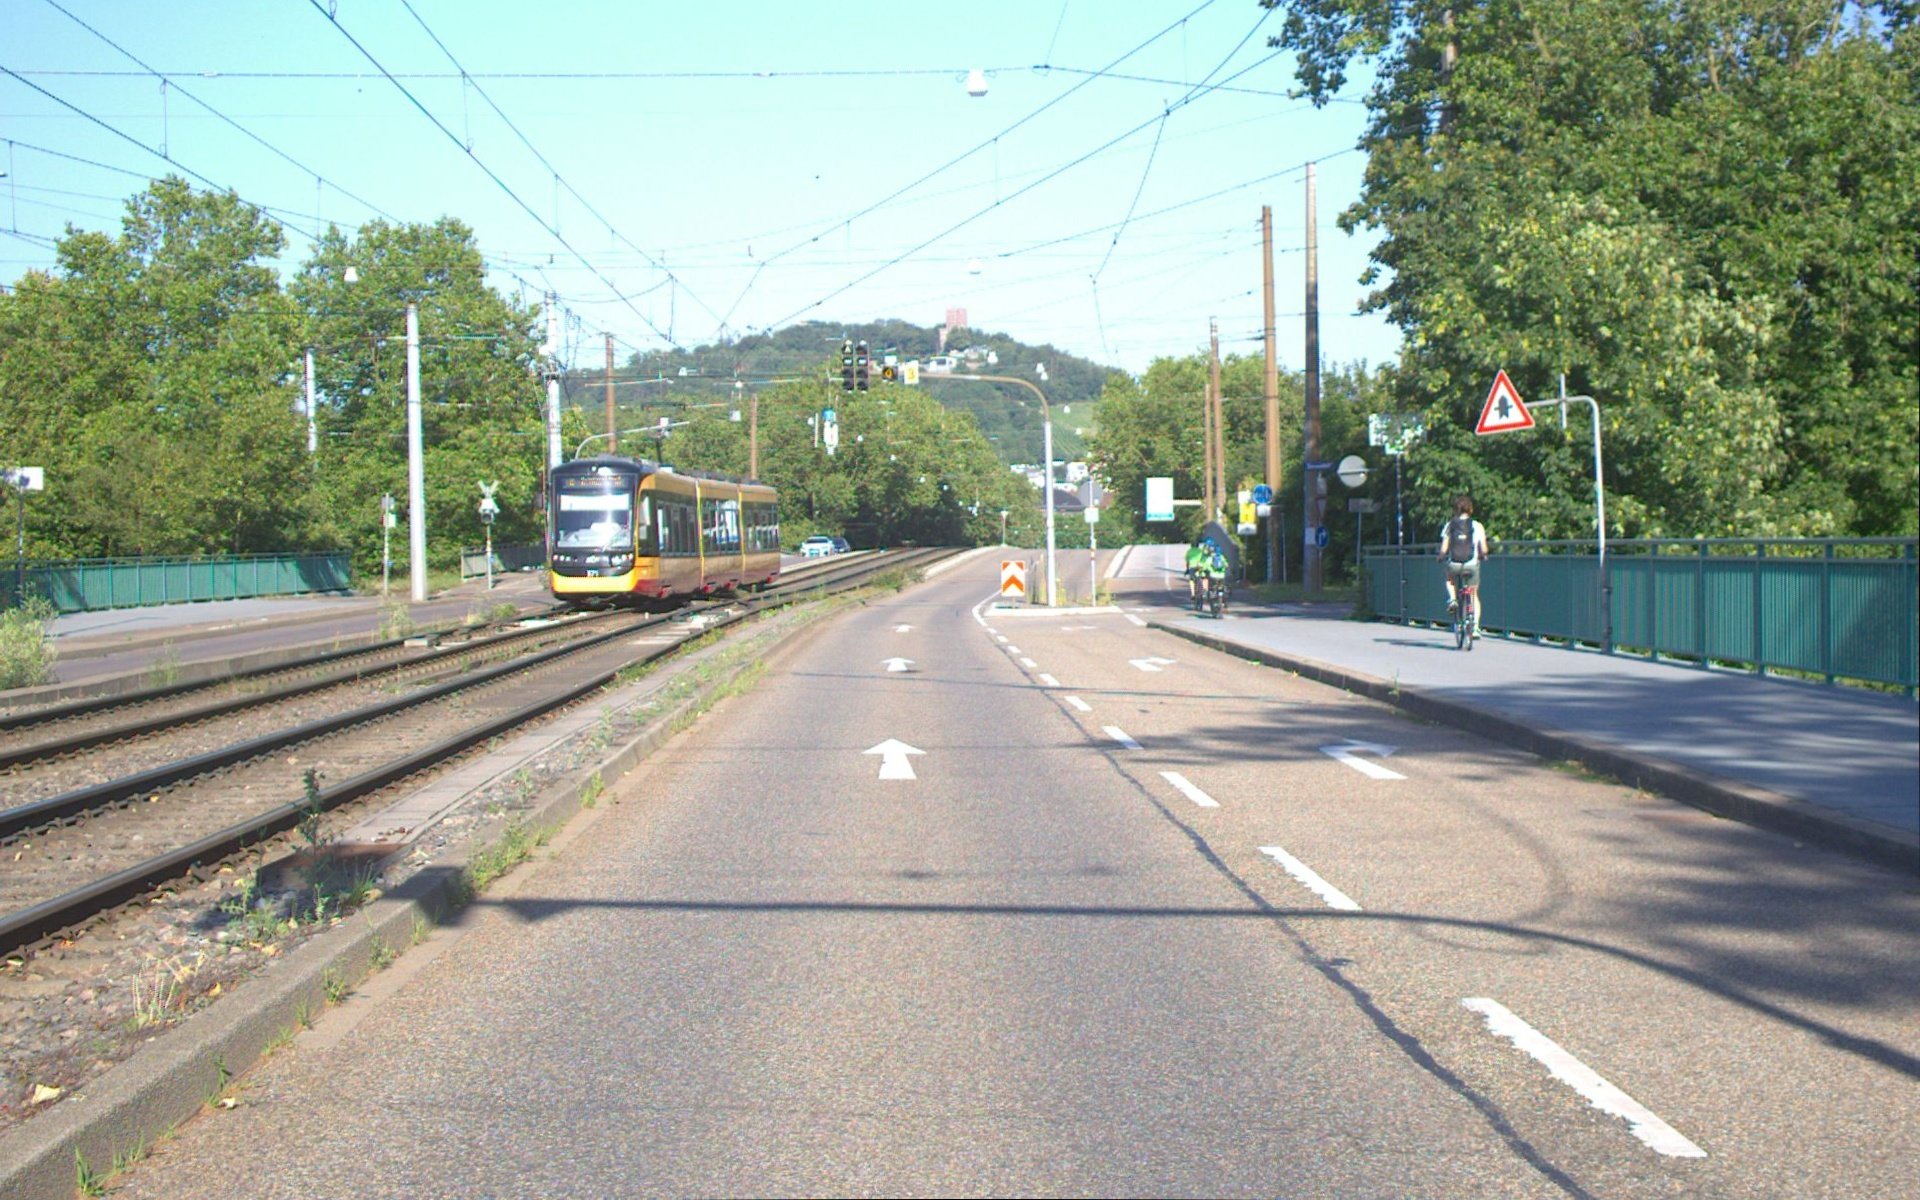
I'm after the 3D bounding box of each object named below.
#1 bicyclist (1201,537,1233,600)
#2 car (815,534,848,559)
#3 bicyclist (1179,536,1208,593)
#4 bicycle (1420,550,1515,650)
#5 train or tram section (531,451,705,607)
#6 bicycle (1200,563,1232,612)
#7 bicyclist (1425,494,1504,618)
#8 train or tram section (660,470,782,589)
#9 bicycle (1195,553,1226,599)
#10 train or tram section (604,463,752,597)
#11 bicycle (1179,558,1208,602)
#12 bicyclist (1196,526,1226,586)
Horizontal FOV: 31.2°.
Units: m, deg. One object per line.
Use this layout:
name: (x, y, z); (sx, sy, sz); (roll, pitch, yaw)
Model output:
bicyclist: (5.611, -0.693, 75.205); (0.604, 1.374, 0.975); (-1, 1, -1)
car: (-7.914, -3.322, 212.542); (1.950, 1.481, 4.000); (-1, 1, -1)
bicyclist: (5.667, -0.868, 83.404); (0.604, 1.374, 0.975); (-1, 1, -1)
bicycle: (6.273, -0.020, 42.622); (0.727, 1.172, 2.695); (-1, 1, -1)
train or tram section: (-8.245, -1.742, 84.278); (2.644, 3.554, 10.831); (-1, 1, 3)
bicycle: (5.602, -0.274, 75.207); (0.515, 1.038, 1.975); (-1, 1, -1)
bicyclist: (6.253, -0.549, 42.652); (0.824, 1.515, 0.975); (-1, 1, -1)
train or tram section: (-7.208, -2.150, 104.977); (2.644, 3.460, 8.894); (-1, 1, 3)
bicycle: (5.842, -0.563, 80.194); (0.539, 1.038, 1.975); (-1, 1, -1)
train or tram section: (-7.695, -1.926, 95.146); (2.644, 3.464, 10.831); (-1, 1, 3)
bicycle: (5.668, -0.501, 83.411); (0.539, 1.038, 1.975); (-1, 1, -1)
bicyclist: (5.839, -1.026, 80.094); (0.604, 1.374, 0.975); (-1, 1, -1)
